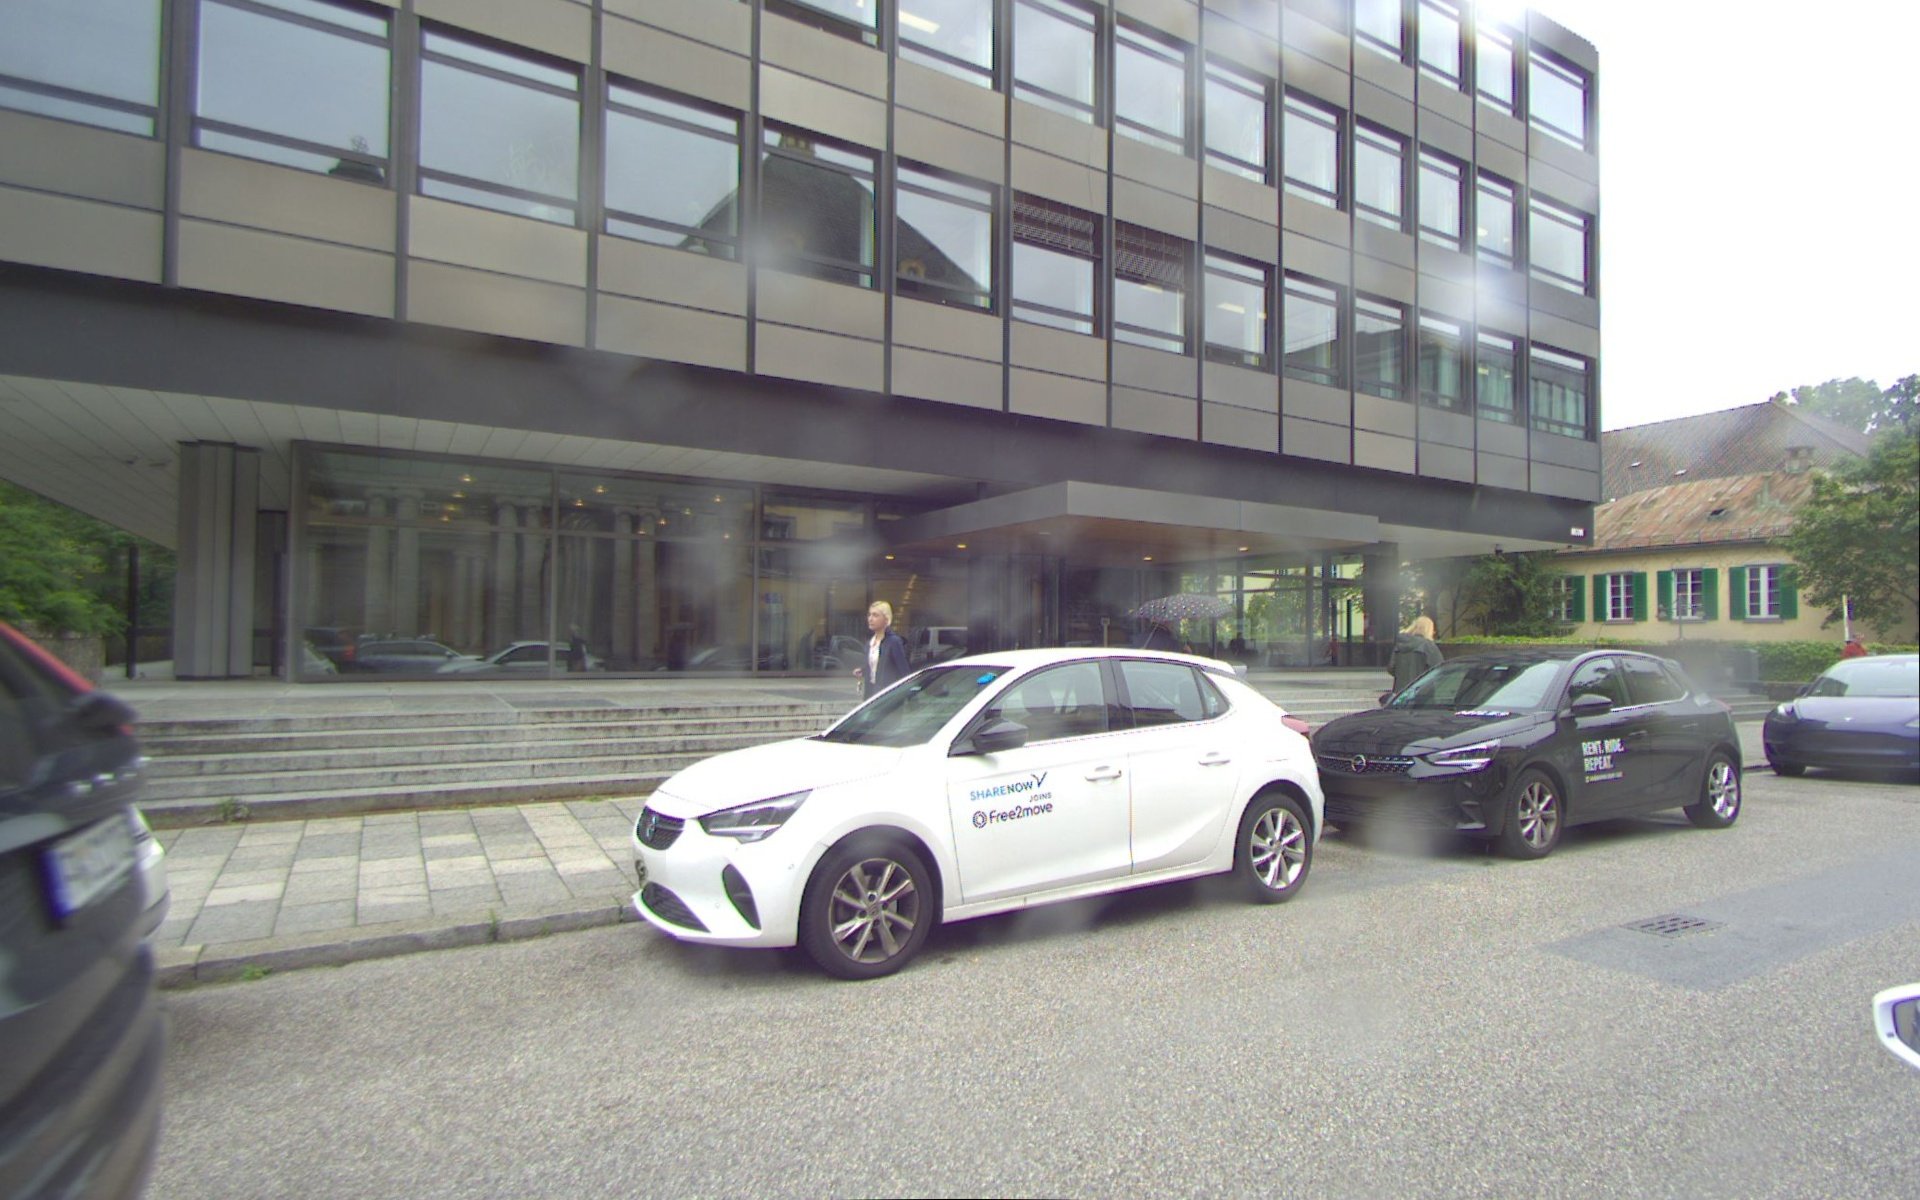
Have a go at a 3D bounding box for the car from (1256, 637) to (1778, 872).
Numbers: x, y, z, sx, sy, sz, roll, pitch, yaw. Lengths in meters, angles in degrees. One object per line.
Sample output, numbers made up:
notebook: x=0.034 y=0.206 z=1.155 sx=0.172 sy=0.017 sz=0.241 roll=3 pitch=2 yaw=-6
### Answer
car: x=4.576 y=1.085 z=8.145 sx=4.185 sy=1.480 sz=1.733 roll=2 pitch=-5 yaw=-29

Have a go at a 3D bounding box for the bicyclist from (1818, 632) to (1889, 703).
bicyclist: x=19.718 y=1.485 z=22.192 sx=1.076 sy=1.517 sz=0.672 roll=0 pitch=-3 yaw=34

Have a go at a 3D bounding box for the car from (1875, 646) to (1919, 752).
car: x=16.044 y=1.441 z=15.078 sx=4.825 sy=1.510 sz=1.985 roll=2 pitch=-4 yaw=-30

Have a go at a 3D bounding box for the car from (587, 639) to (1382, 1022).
car: x=0.259 y=1.003 z=5.670 sx=4.229 sy=1.458 sz=1.674 roll=2 pitch=-5 yaw=-30

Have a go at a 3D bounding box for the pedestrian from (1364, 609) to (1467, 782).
pedestrian: x=4.949 y=0.997 z=10.907 sx=0.745 sy=1.772 sz=0.947 roll=-1 pitch=-3 yaw=44

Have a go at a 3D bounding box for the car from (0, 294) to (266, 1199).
car: x=-3.508 y=0.546 z=0.614 sx=4.853 sy=1.703 sz=1.952 roll=2 pitch=-4 yaw=-30

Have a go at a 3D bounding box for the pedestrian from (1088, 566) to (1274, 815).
pedestrian: x=2.009 y=0.775 z=9.217 sx=1.207 sy=2.082 sz=1.129 roll=2 pitch=-1 yaw=-31

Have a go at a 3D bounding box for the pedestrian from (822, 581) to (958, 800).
pedestrian: x=-0.607 y=0.748 z=8.692 sx=0.884 sy=1.775 sz=0.683 roll=3 pitch=-1 yaw=-35

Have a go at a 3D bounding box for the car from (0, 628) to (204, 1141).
car: x=-4.461 y=0.840 z=2.841 sx=3.512 sy=1.489 sz=1.536 roll=2 pitch=-4 yaw=-31

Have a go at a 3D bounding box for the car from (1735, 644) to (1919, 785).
car: x=11.666 y=1.314 z=12.260 sx=4.864 sy=1.458 sz=1.913 roll=2 pitch=-5 yaw=-32
